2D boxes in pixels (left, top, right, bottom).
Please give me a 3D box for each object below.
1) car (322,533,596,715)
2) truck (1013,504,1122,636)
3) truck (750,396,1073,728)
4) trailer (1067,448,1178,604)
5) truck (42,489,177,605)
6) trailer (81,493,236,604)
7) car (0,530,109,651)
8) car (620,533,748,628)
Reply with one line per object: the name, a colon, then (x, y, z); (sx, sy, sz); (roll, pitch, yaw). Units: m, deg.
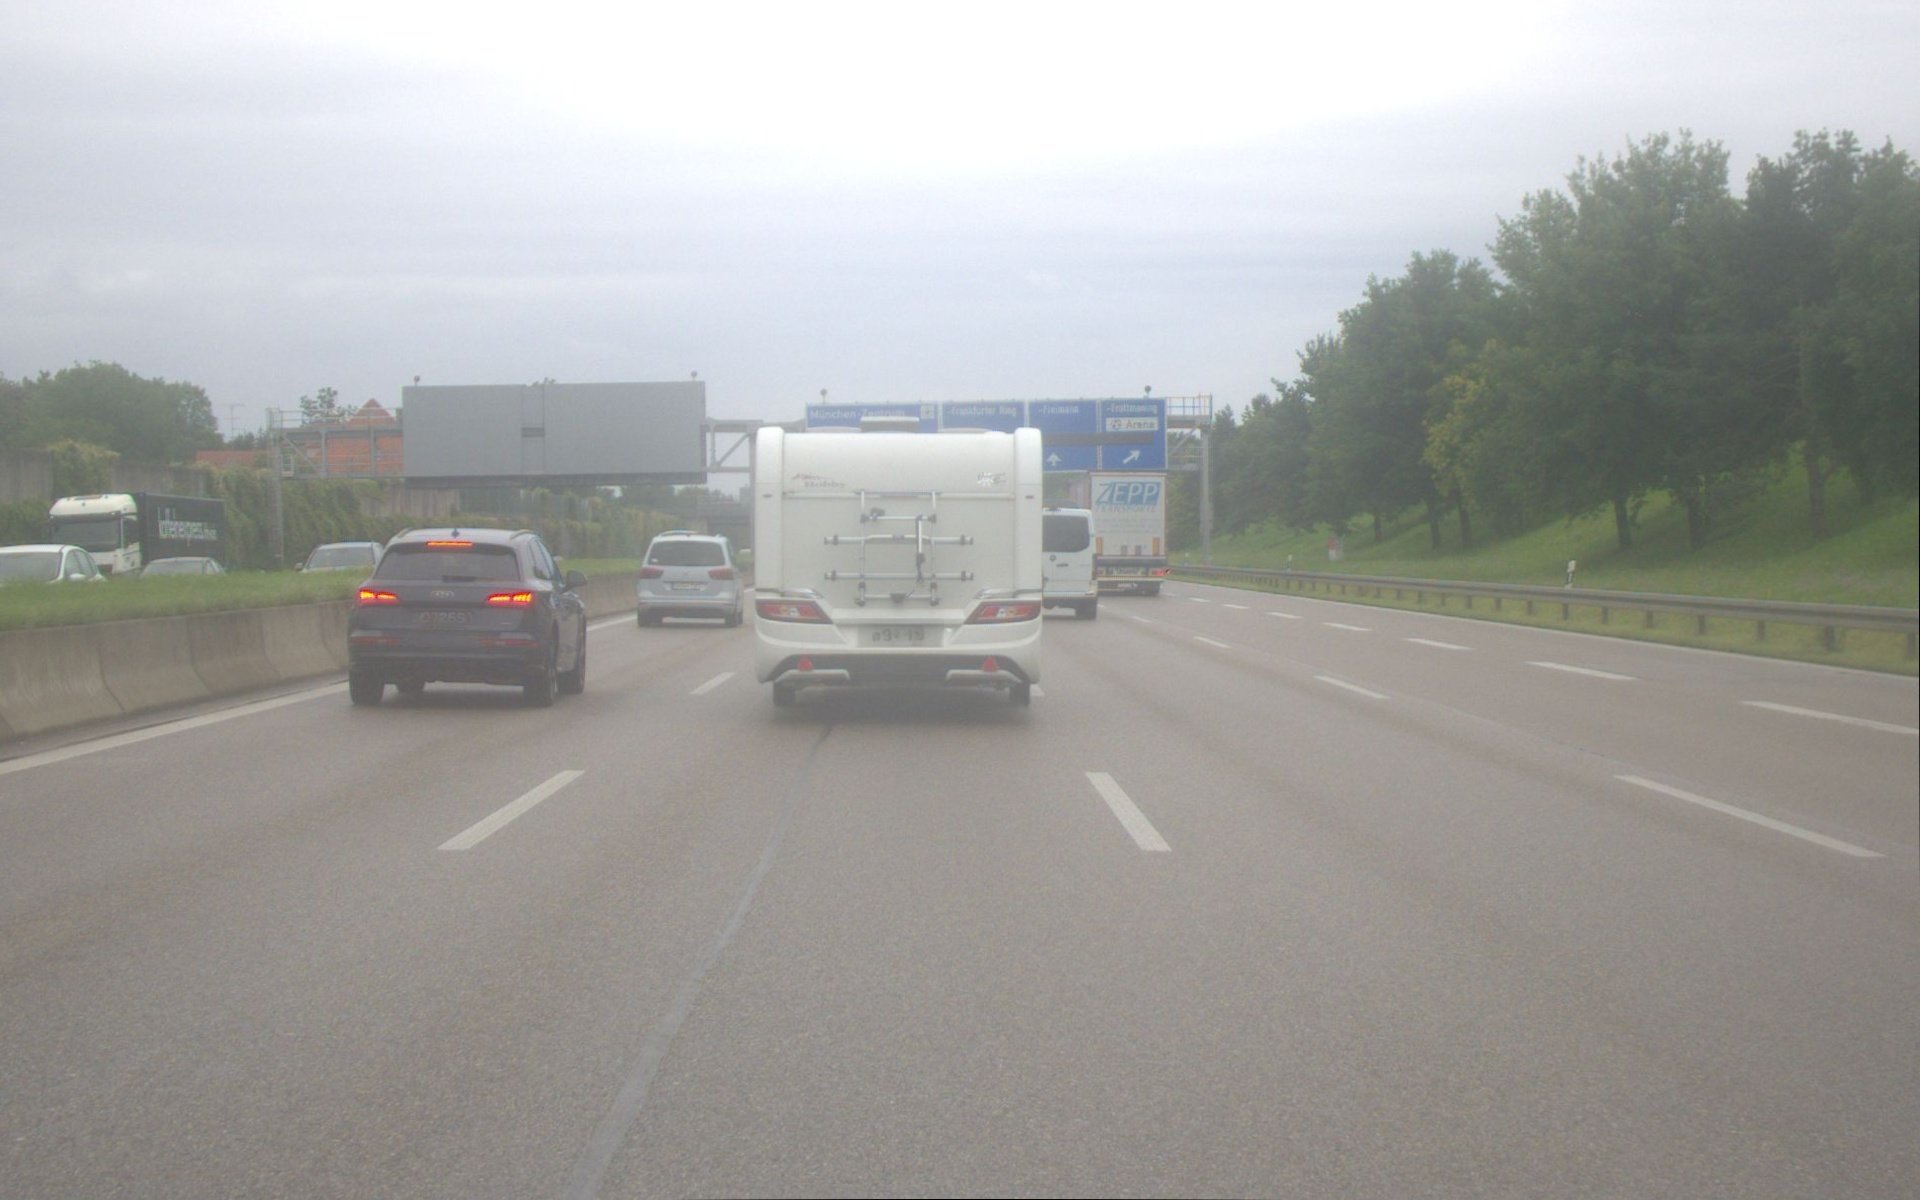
car: (-4.749, 0.190, 33.306); (1.993, 1.594, 5.124); (1, 1, -1)
truck: (2.309, -0.663, 75.286); (2.053, 2.760, 5.549); (1, 0, -1)
truck: (-0.459, -0.338, 31.322); (2.661, 2.733, 5.078); (1, 0, -1)
trailer: (5.355, -2.404, 115.353); (3.100, 4.905, 11.790); (1, 0, 0)
truck: (-25.034, -1.545, 101.464); (2.316, 3.262, 6.582); (1, 0, 0)
trailer: (-24.974, -1.575, 107.591); (2.306, 3.278, 10.563); (1, 1, 0)
car: (-13.670, -0.162, 49.576); (1.821, 1.656, 4.149); (1, 0, -1)
car: (-5.143, -0.382, 64.477); (2.127, 1.700, 4.113); (1, 1, -1)
